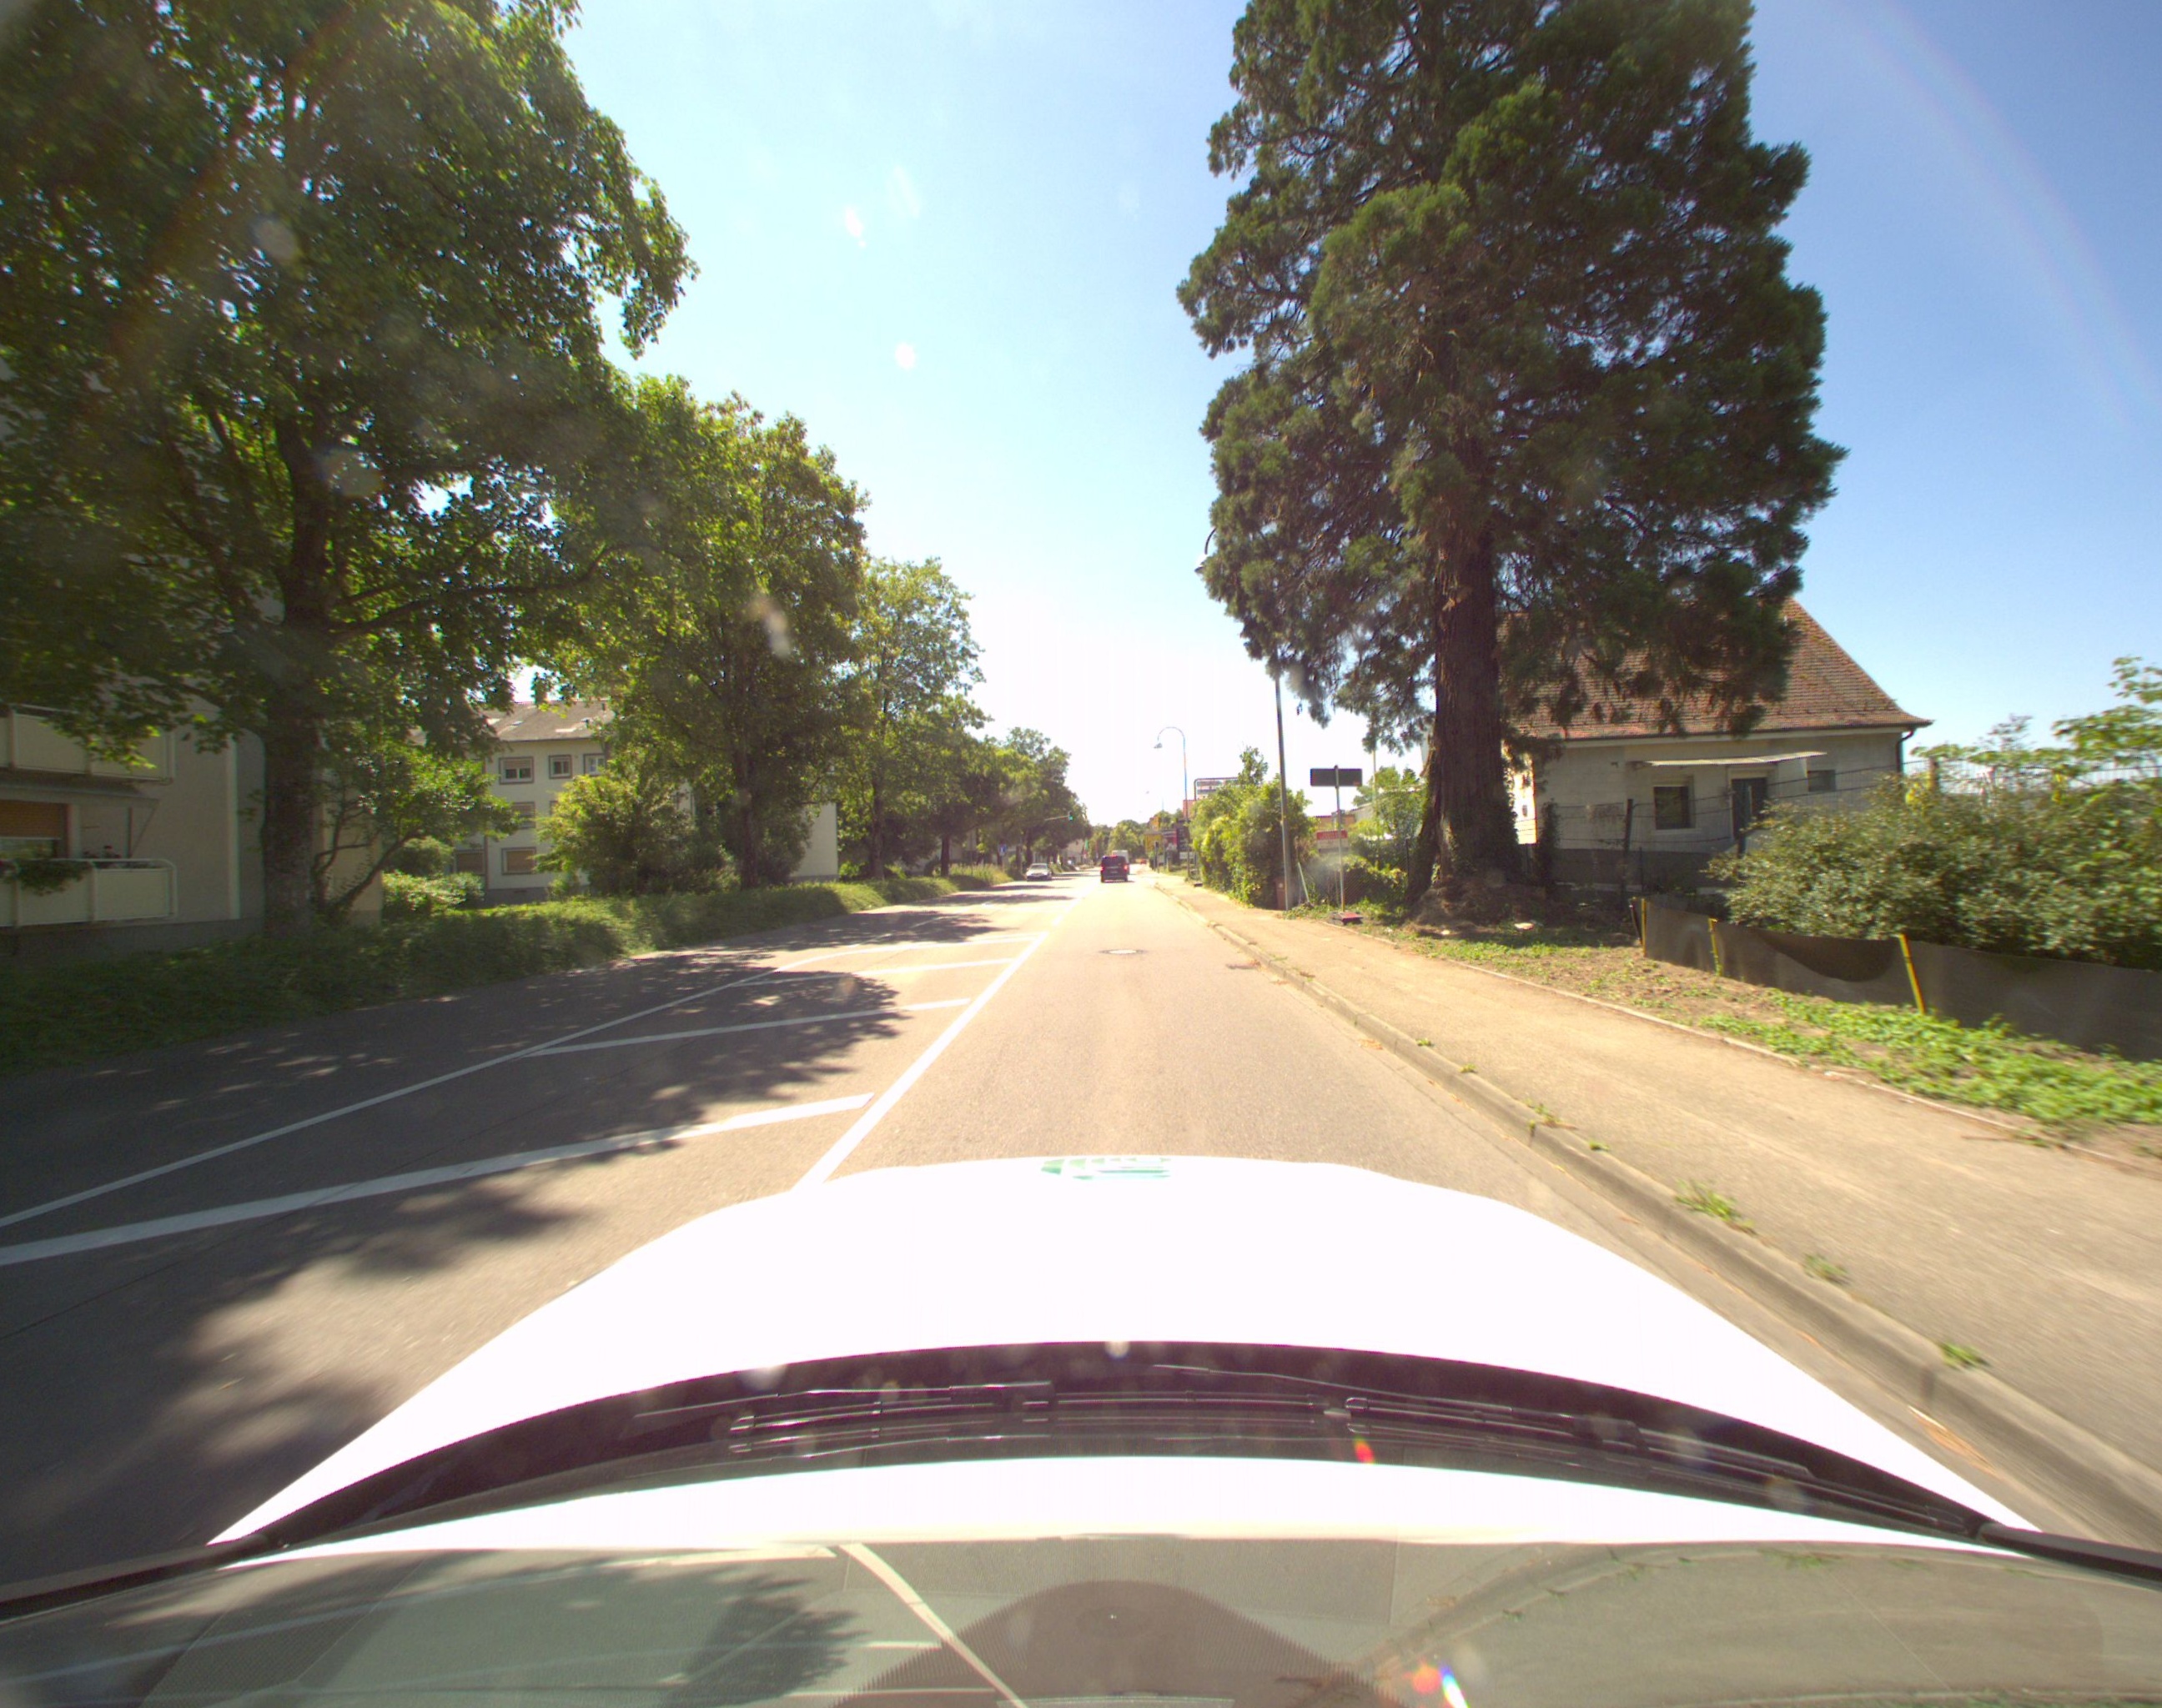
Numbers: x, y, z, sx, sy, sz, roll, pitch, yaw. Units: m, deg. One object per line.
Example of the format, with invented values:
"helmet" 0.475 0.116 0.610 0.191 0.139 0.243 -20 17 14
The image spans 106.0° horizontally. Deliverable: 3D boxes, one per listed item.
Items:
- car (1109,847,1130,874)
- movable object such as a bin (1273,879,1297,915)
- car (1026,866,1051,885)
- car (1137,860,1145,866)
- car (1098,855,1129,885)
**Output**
"car" 4.202 0.664 88.260 2.111 2.677 5.668 0 1 4
"movable object such as a bin" 5.542 1.155 22.138 0.466 0.928 0.527 0 0 36
"car" -3.385 1.691 65.731 1.716 1.427 4.148 -1 0 1
"car" 16.761 2.500 225.725 1.846 1.643 4.011 0 1 9
"car" 2.202 1.088 56.524 1.987 1.893 4.000 -1 1 0
